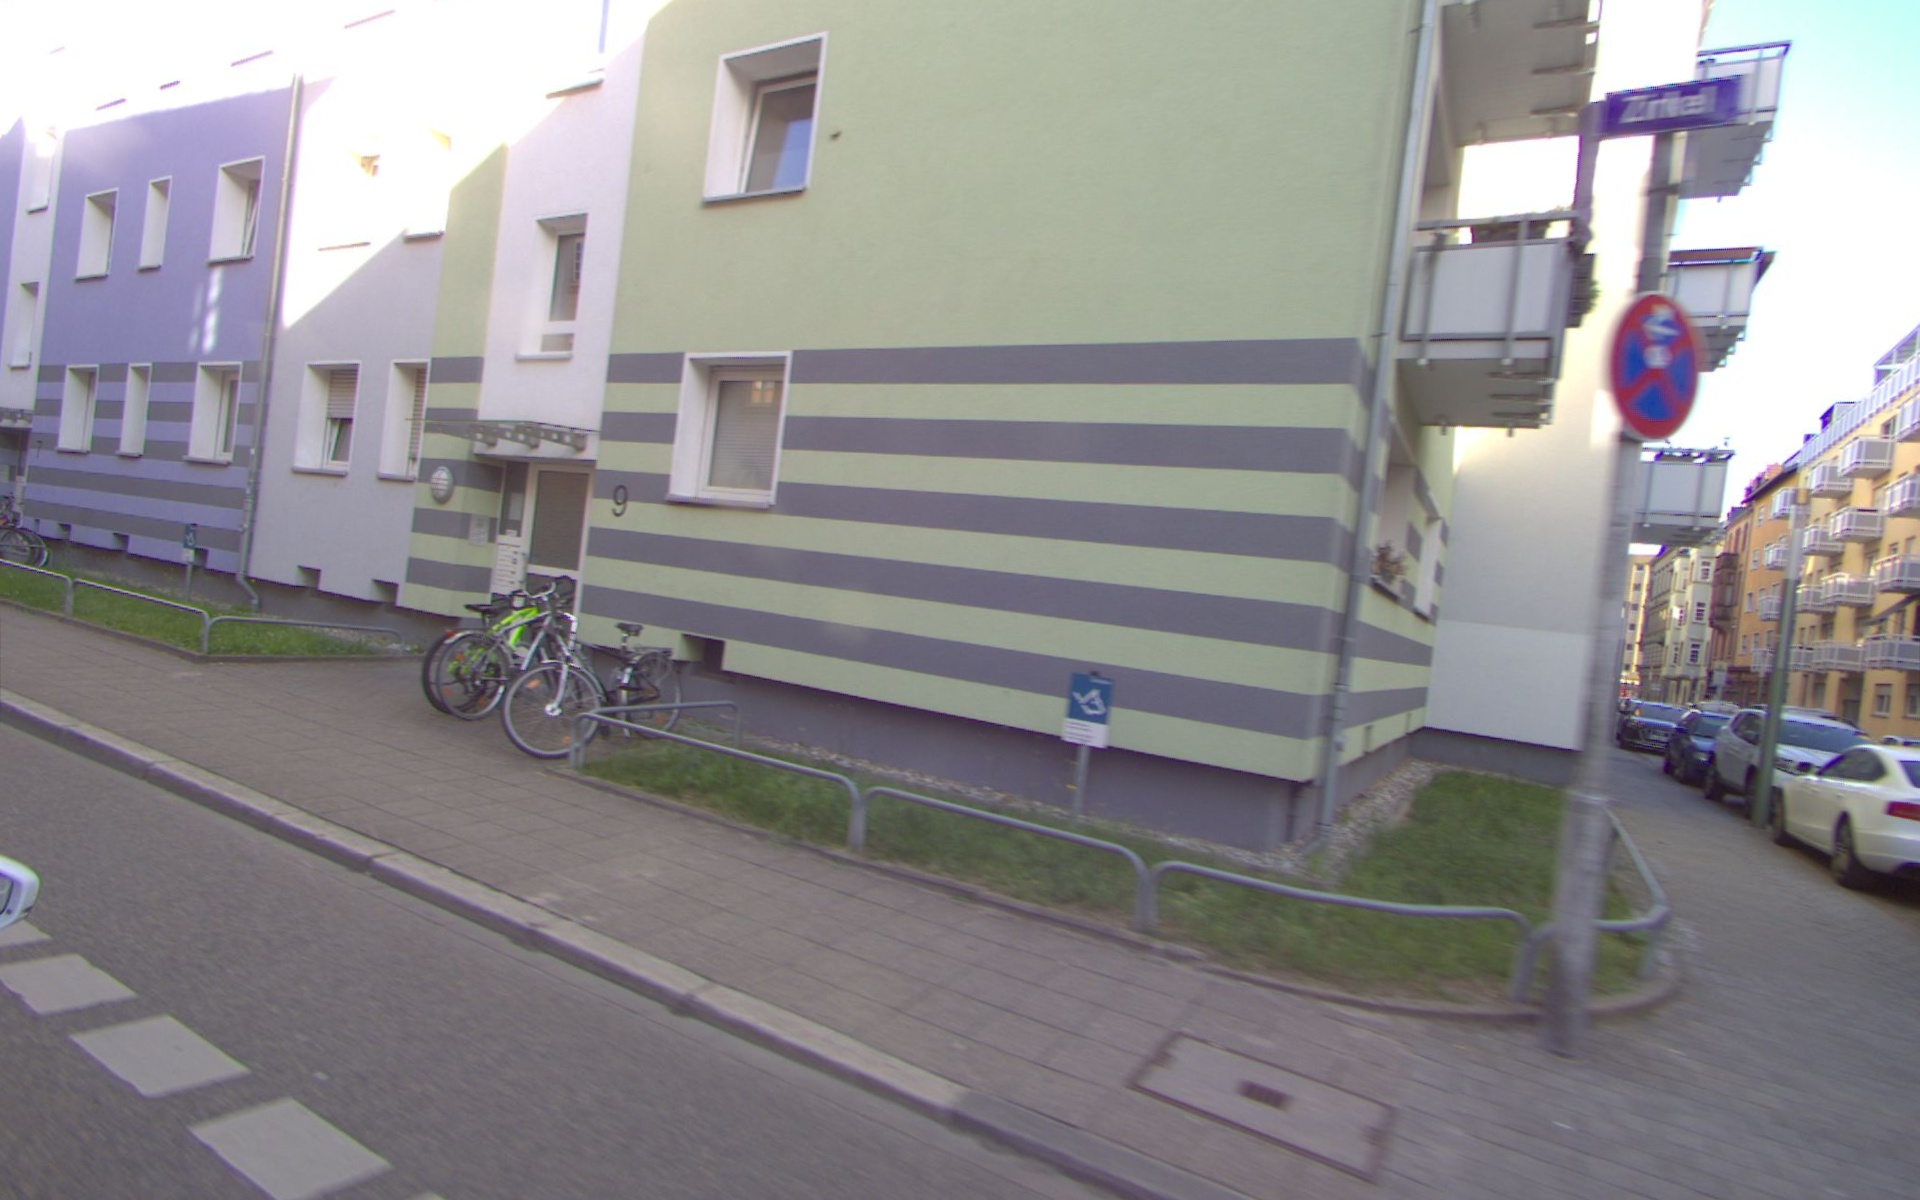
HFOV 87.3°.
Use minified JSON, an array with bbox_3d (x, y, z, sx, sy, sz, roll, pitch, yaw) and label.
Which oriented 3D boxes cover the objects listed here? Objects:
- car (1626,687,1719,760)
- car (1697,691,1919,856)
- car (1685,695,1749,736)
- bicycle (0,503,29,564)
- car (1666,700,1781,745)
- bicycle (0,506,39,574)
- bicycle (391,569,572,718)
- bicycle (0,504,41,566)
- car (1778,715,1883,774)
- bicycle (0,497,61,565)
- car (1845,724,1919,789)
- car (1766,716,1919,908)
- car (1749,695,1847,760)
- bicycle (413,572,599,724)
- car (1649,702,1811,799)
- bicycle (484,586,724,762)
[{"bbox_3d":[20.885,3.615,29.633,1.759,1.737,4.337,7,-2,32],"label":"car"},{"bbox_3d":[12.710,2.439,15.160,1.757,1.738,4.031,11,2,28],"label":"car"},{"bbox_3d":[41.151,6.237,54.780,2.125,1.816,4.648,5,-1,31],"label":"car"},{"bbox_3d":[-16.114,-1.150,16.081,0.329,0.958,1.751,7,0,29],"label":"bicycle"},{"bbox_3d":[34.813,5.568,45.953,1.758,1.476,3.745,6,-1,-35],"label":"car"},{"bbox_3d":[-14.537,-0.943,14.481,0.542,0.958,1.751,7,0,29],"label":"bicycle"},{"bbox_3d":[-4.058,0.343,8.658,0.233,1.157,1.605,8,3,21],"label":"bicycle"},{"bbox_3d":[-15.761,-1.100,15.900,0.320,0.958,1.750,7,0,30],"label":"bicycle"},{"bbox_3d":[30.247,4.974,35.096,1.991,1.565,3.938,5,-1,31],"label":"car"},{"bbox_3d":[-14.833,-1.102,15.179,0.542,0.958,1.751,7,0,29],"label":"bicycle"},{"bbox_3d":[25.460,4.230,27.002,1.754,1.499,3.962,5,-2,31],"label":"car"},{"bbox_3d":[9.770,2.110,10.235,1.680,1.500,4.217,7,-1,30],"label":"car"},{"bbox_3d":[33.174,5.053,39.960,2.125,2.163,4.653,5,-4,31],"label":"car"},{"bbox_3d":[-3.805,0.374,8.566,0.278,1.157,1.644,8,3,21],"label":"bicycle"},{"bbox_3d":[15.247,2.904,20.163,1.758,1.447,4.184,7,-1,28],"label":"car"},{"bbox_3d":[-2.684,0.523,7.778,0.542,1.157,1.749,8,3,29],"label":"bicycle"}]
